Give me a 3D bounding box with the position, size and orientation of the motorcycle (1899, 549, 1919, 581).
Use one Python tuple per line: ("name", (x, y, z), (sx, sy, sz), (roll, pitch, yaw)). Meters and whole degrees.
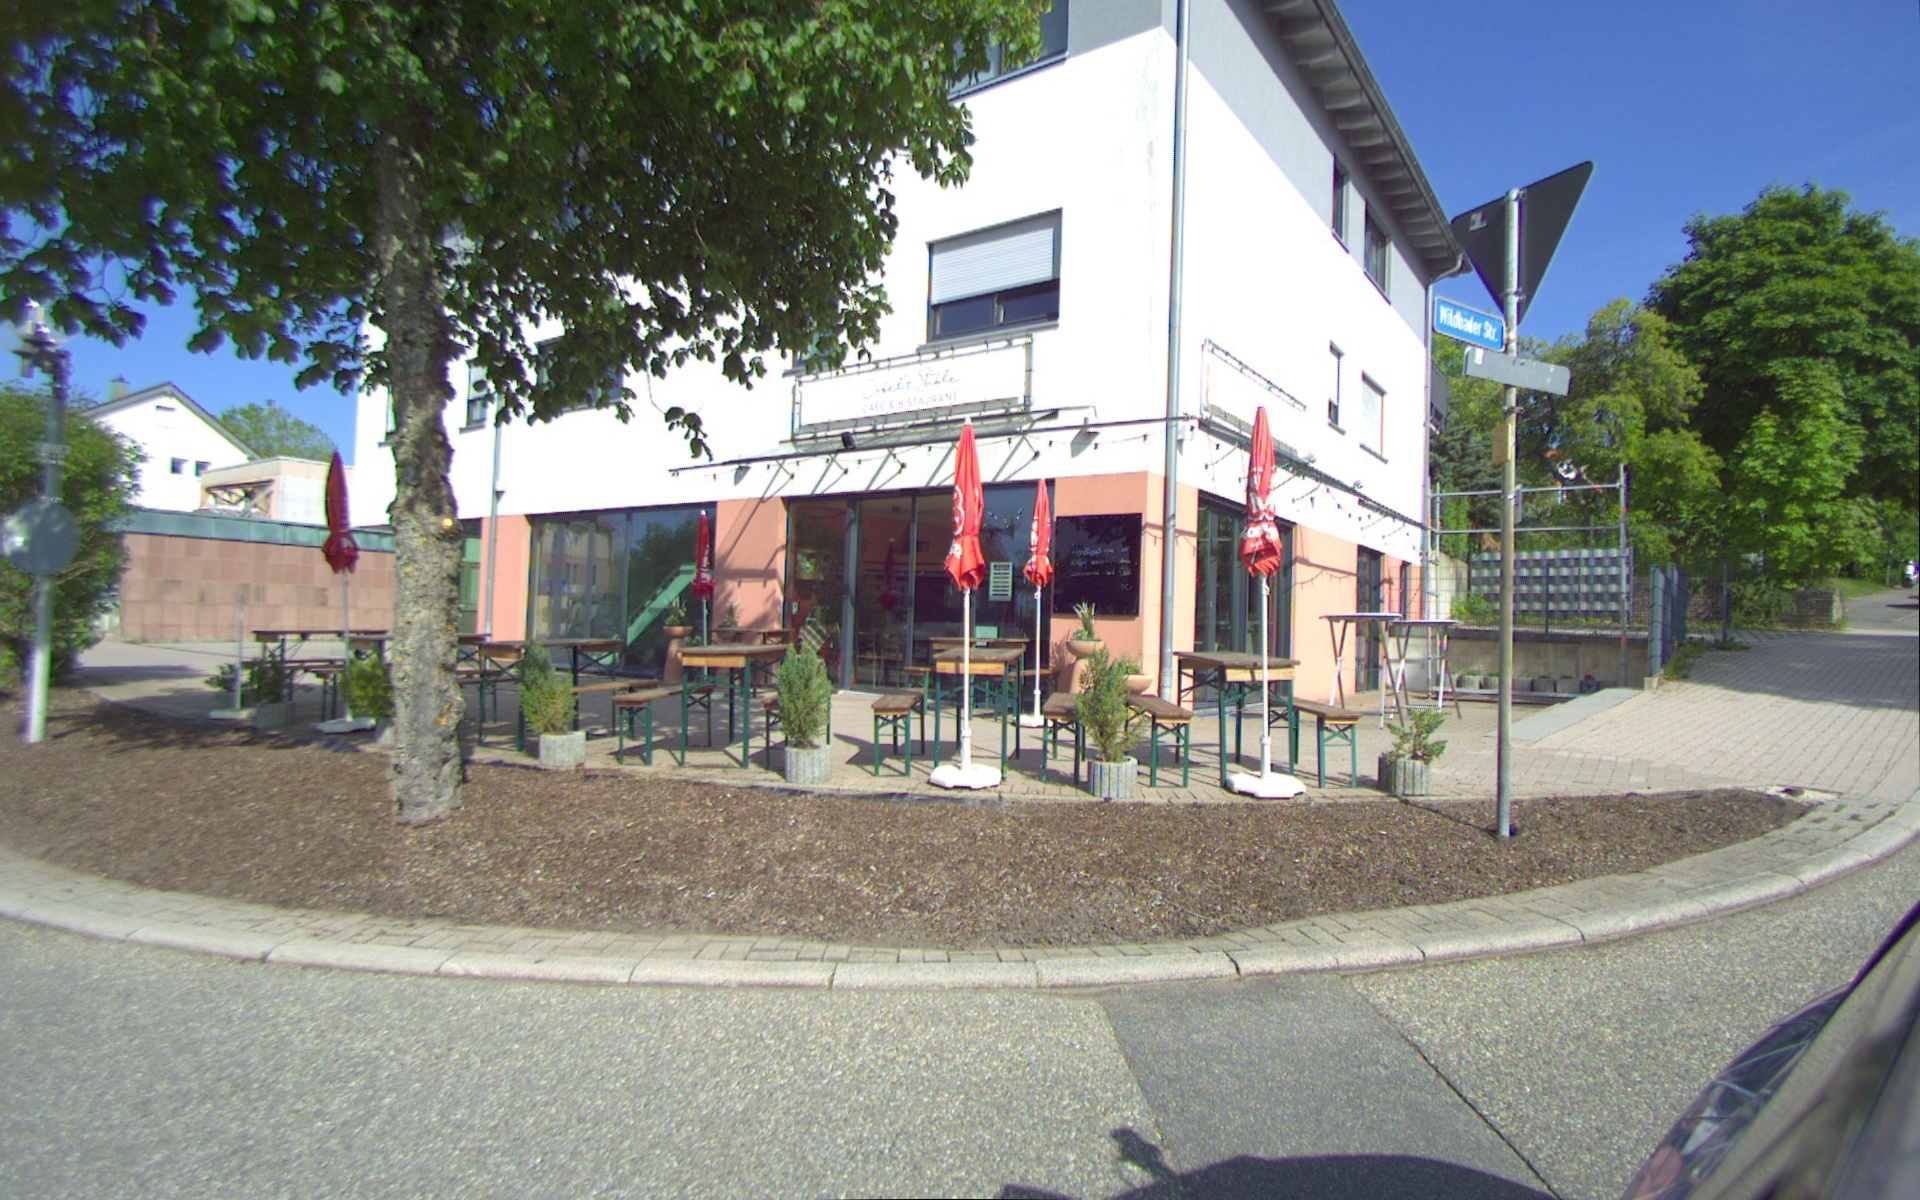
("motorcycle", (36.875, -1.348, 39.081), (2.152, 1.196, 0.784), (-3, 3, -44))
